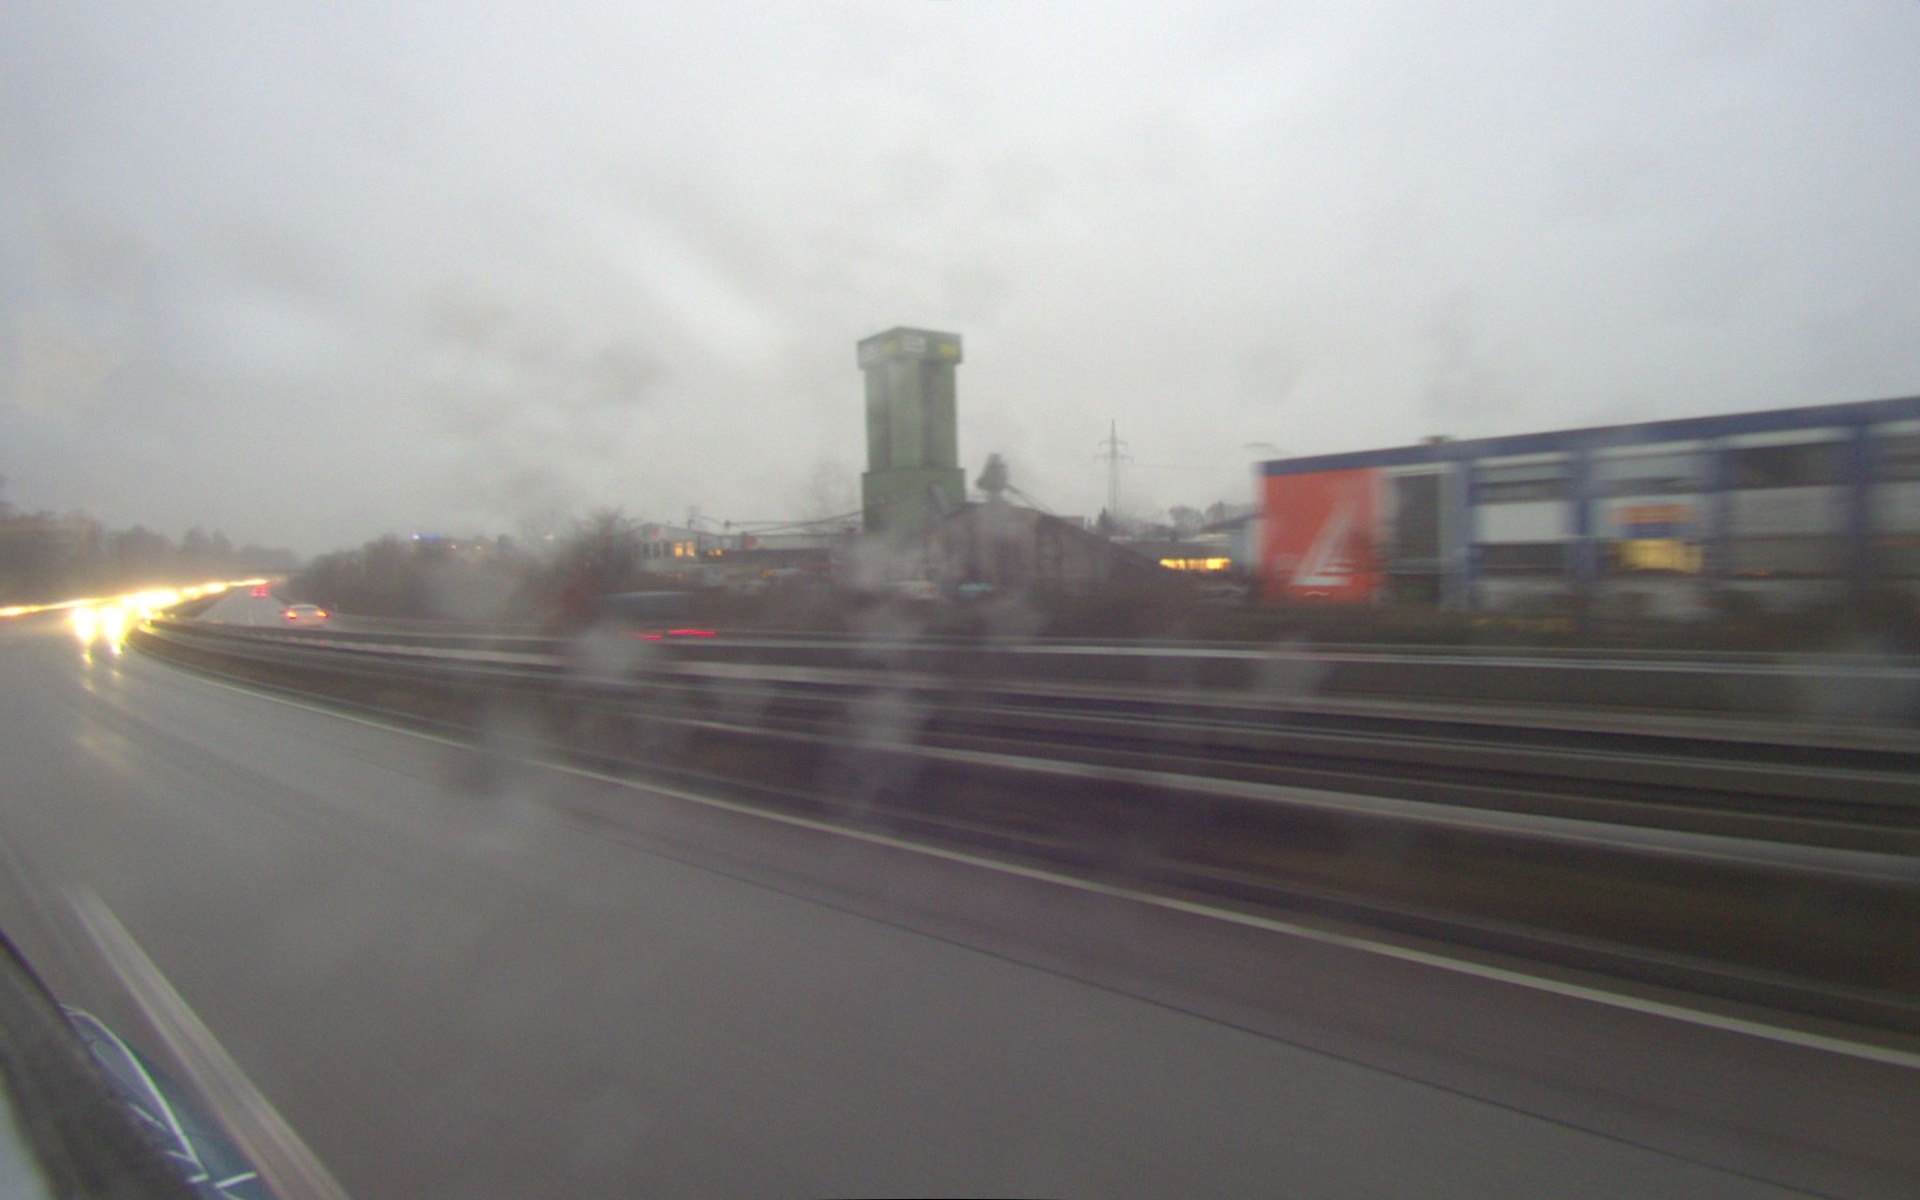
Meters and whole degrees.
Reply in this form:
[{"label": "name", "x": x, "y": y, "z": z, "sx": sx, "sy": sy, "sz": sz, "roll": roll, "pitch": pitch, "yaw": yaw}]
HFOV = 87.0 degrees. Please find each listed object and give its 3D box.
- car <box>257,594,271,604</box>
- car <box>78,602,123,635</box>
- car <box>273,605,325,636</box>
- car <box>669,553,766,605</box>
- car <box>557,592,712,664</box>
[{"label": "car", "x": -120.984, "y": -0.251, "z": 175.930, "sx": 1.739, "sy": 1.638, "sz": 4.539, "roll": -4, "pitch": 3, "yaw": -33}, {"label": "car", "x": -58.906, "y": 1.241, "z": 69.402, "sx": 1.968, "sy": 2.028, "sz": 4.009, "roll": -4, "pitch": 3, "yaw": -37}, {"label": "car", "x": -38.519, "y": 1.158, "z": 58.927, "sx": 1.772, "sy": 1.696, "sz": 4.694, "roll": 0, "pitch": 0, "yaw": -43}, {"label": "car", "x": -16.601, "y": -1.304, "z": 68.622, "sx": 3.149, "sy": 3.235, "sz": 9.966, "roll": 0, "pitch": -1, "yaw": -34}, {"label": "car", "x": -8.400, "y": 0.674, "z": 25.910, "sx": 4.430, "sy": 1.685, "sz": 1.971, "roll": -1, "pitch": 0, "yaw": 45}]
